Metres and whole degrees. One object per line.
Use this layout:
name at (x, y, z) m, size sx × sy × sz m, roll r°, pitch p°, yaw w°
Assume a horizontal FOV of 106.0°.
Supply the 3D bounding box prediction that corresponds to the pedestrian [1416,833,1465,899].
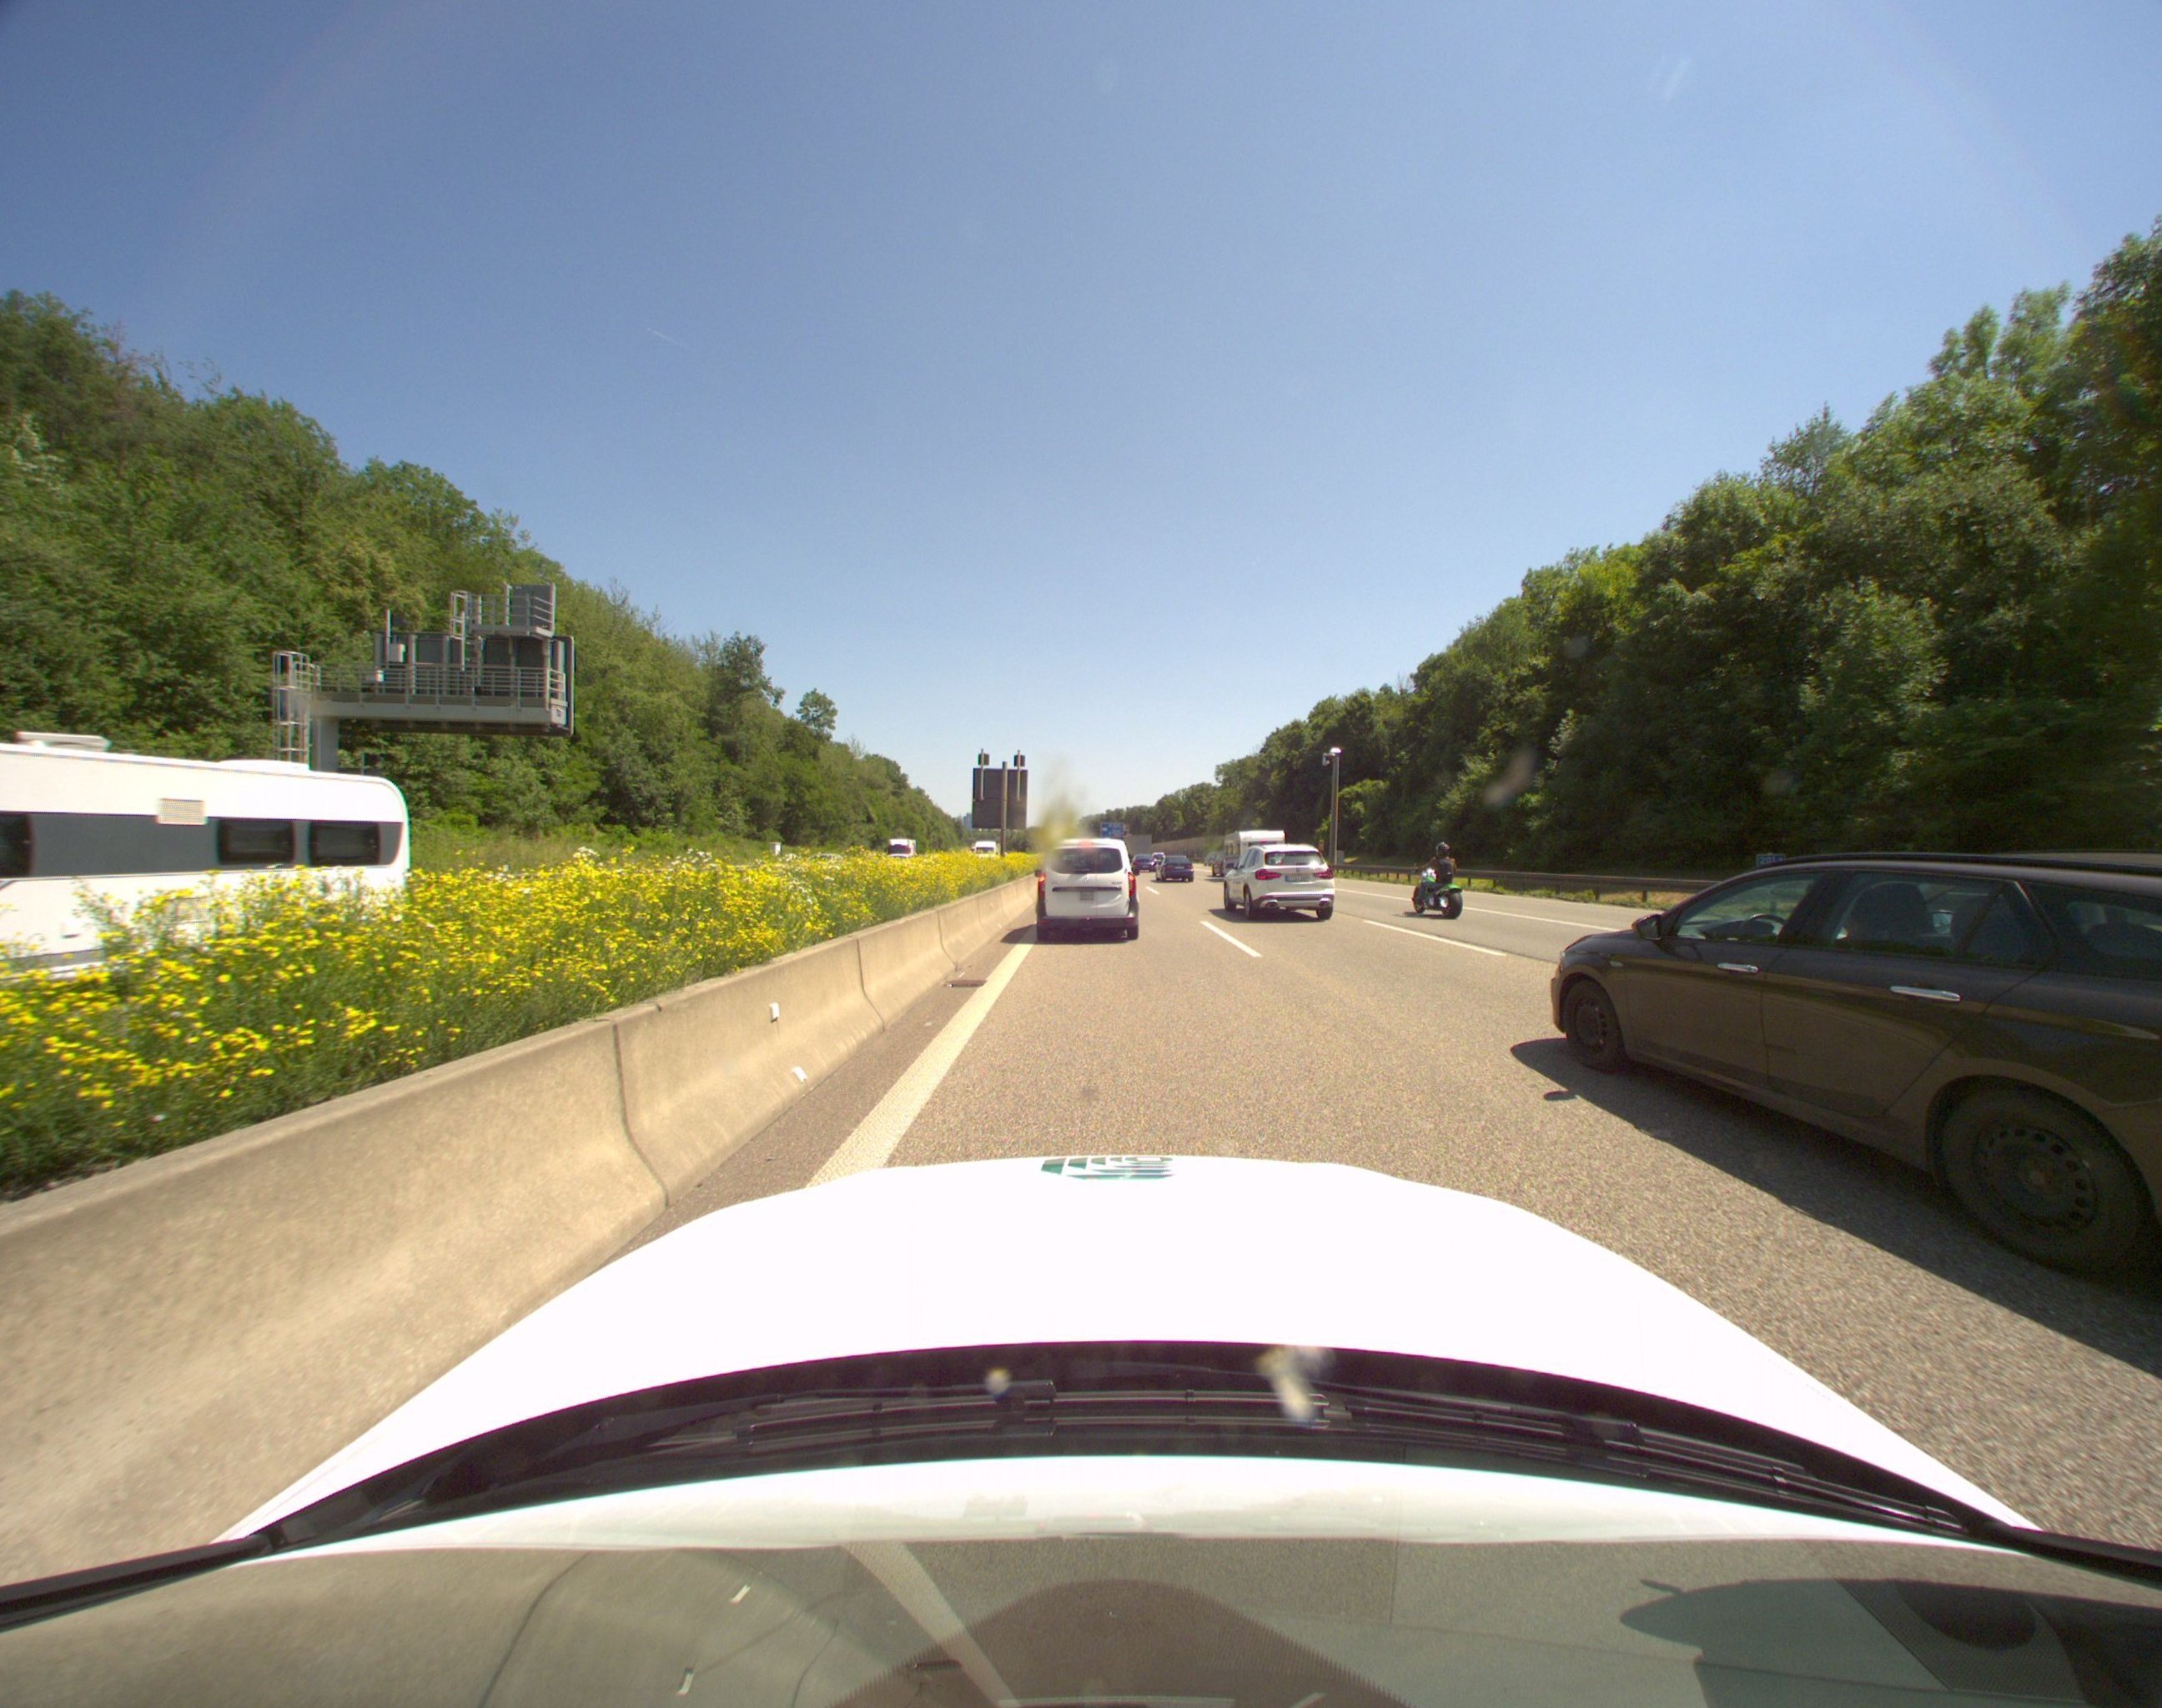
pedestrian at (8.112, 0.261, 18.392) m, size 0.847 × 1.478 × 0.639 m, roll 0°, pitch 1°, yaw 5°

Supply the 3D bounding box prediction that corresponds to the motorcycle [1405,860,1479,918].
motorcycle at (8.125, 0.741, 18.446) m, size 0.855 × 1.181 × 2.280 m, roll 0°, pitch 1°, yaw 6°

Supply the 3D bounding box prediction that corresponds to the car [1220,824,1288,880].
car at (9.233, -0.100, 44.017) m, size 2.470 × 2.765 × 6.221 m, roll 0°, pitch 0°, yaw 1°

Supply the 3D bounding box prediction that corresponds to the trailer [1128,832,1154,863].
trailer at (8.146, -0.834, 111.256) m, size 3.070 × 3.985 × 10.326 m, roll 0°, pitch 0°, yaw 1°

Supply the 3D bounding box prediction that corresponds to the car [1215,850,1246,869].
car at (11.755, 0.387, 64.118) m, size 1.817 × 1.424 × 4.001 m, roll 0°, pitch 0°, yaw 1°

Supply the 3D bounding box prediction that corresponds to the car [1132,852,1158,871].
car at (5.030, 0.586, 64.148) m, size 1.817 × 1.424 × 4.001 m, roll 0°, pitch 0°, yaw 1°

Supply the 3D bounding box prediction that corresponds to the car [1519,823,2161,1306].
car at (4.321, 0.638, 4.183) m, size 1.832 × 1.513 × 4.402 m, roll 0°, pitch 1°, yaw 0°

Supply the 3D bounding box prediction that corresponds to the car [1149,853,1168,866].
car at (8.467, 0.556, 89.704) m, size 1.817 × 1.424 × 4.001 m, roll 0°, pitch 0°, yaw 1°

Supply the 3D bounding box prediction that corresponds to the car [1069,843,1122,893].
car at (0.609, 0.510, 32.684) m, size 1.986 × 1.860 × 4.001 m, roll 0°, pitch 0°, yaw 1°

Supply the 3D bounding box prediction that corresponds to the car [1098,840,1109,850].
car at (4.638, -1.838, 168.175) m, size 1.989 × 2.013 × 3.996 m, roll -1°, pitch 0°, yaw -2°

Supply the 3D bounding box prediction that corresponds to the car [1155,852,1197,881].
car at (4.933, 0.630, 42.718) m, size 1.817 × 1.424 × 4.001 m, roll 0°, pitch 0°, yaw 1°

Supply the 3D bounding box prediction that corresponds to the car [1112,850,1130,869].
car at (4.305, 0.607, 88.097) m, size 1.817 × 1.989 × 4.001 m, roll 0°, pitch 0°, yaw 1°

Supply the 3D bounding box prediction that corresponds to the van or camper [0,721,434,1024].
van or camper at (-10.551, 0.166, 8.087) m, size 2.301 × 2.636 × 7.399 m, roll 0°, pitch 0°, yaw 0°

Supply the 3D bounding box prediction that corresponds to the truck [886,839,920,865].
truck at (-20.801, -0.233, 95.553) m, size 2.398 × 3.005 × 7.458 m, roll 0°, pitch 0°, yaw 0°

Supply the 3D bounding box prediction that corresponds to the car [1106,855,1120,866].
car at (4.315, 0.805, 109.286) m, size 1.817 × 1.447 × 4.001 m, roll 0°, pitch 0°, yaw 1°

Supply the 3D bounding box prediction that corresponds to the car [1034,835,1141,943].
car at (0.144, 0.580, 15.729) m, size 1.796 × 1.808 × 4.000 m, roll 0°, pitch 0°, yaw 1°

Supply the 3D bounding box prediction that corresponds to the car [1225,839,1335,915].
car at (4.573, 0.488, 19.286) m, size 1.863 × 1.608 × 3.882 m, roll 0°, pitch 0°, yaw 3°

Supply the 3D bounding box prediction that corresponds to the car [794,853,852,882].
car at (-14.890, 0.726, 47.232) m, size 1.986 × 1.574 × 4.001 m, roll -1°, pitch 0°, yaw 1°

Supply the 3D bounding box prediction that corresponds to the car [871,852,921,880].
car at (-11.100, 0.680, 49.068) m, size 1.986 × 1.574 × 4.001 m, roll -1°, pitch 0°, yaw 1°

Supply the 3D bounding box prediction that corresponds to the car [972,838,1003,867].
car at (-8.547, -0.109, 74.757) m, size 1.986 × 2.541 × 5.911 m, roll -1°, pitch 0°, yaw 2°

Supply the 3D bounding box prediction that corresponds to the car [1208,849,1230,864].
car at (14.805, 0.254, 87.500) m, size 1.781 × 1.519 × 4.002 m, roll 0°, pitch 0°, yaw 2°

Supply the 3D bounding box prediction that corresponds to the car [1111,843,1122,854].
car at (6.633, -1.041, 153.284) m, size 1.986 × 2.013 × 4.002 m, roll -1°, pitch 0°, yaw 2°
